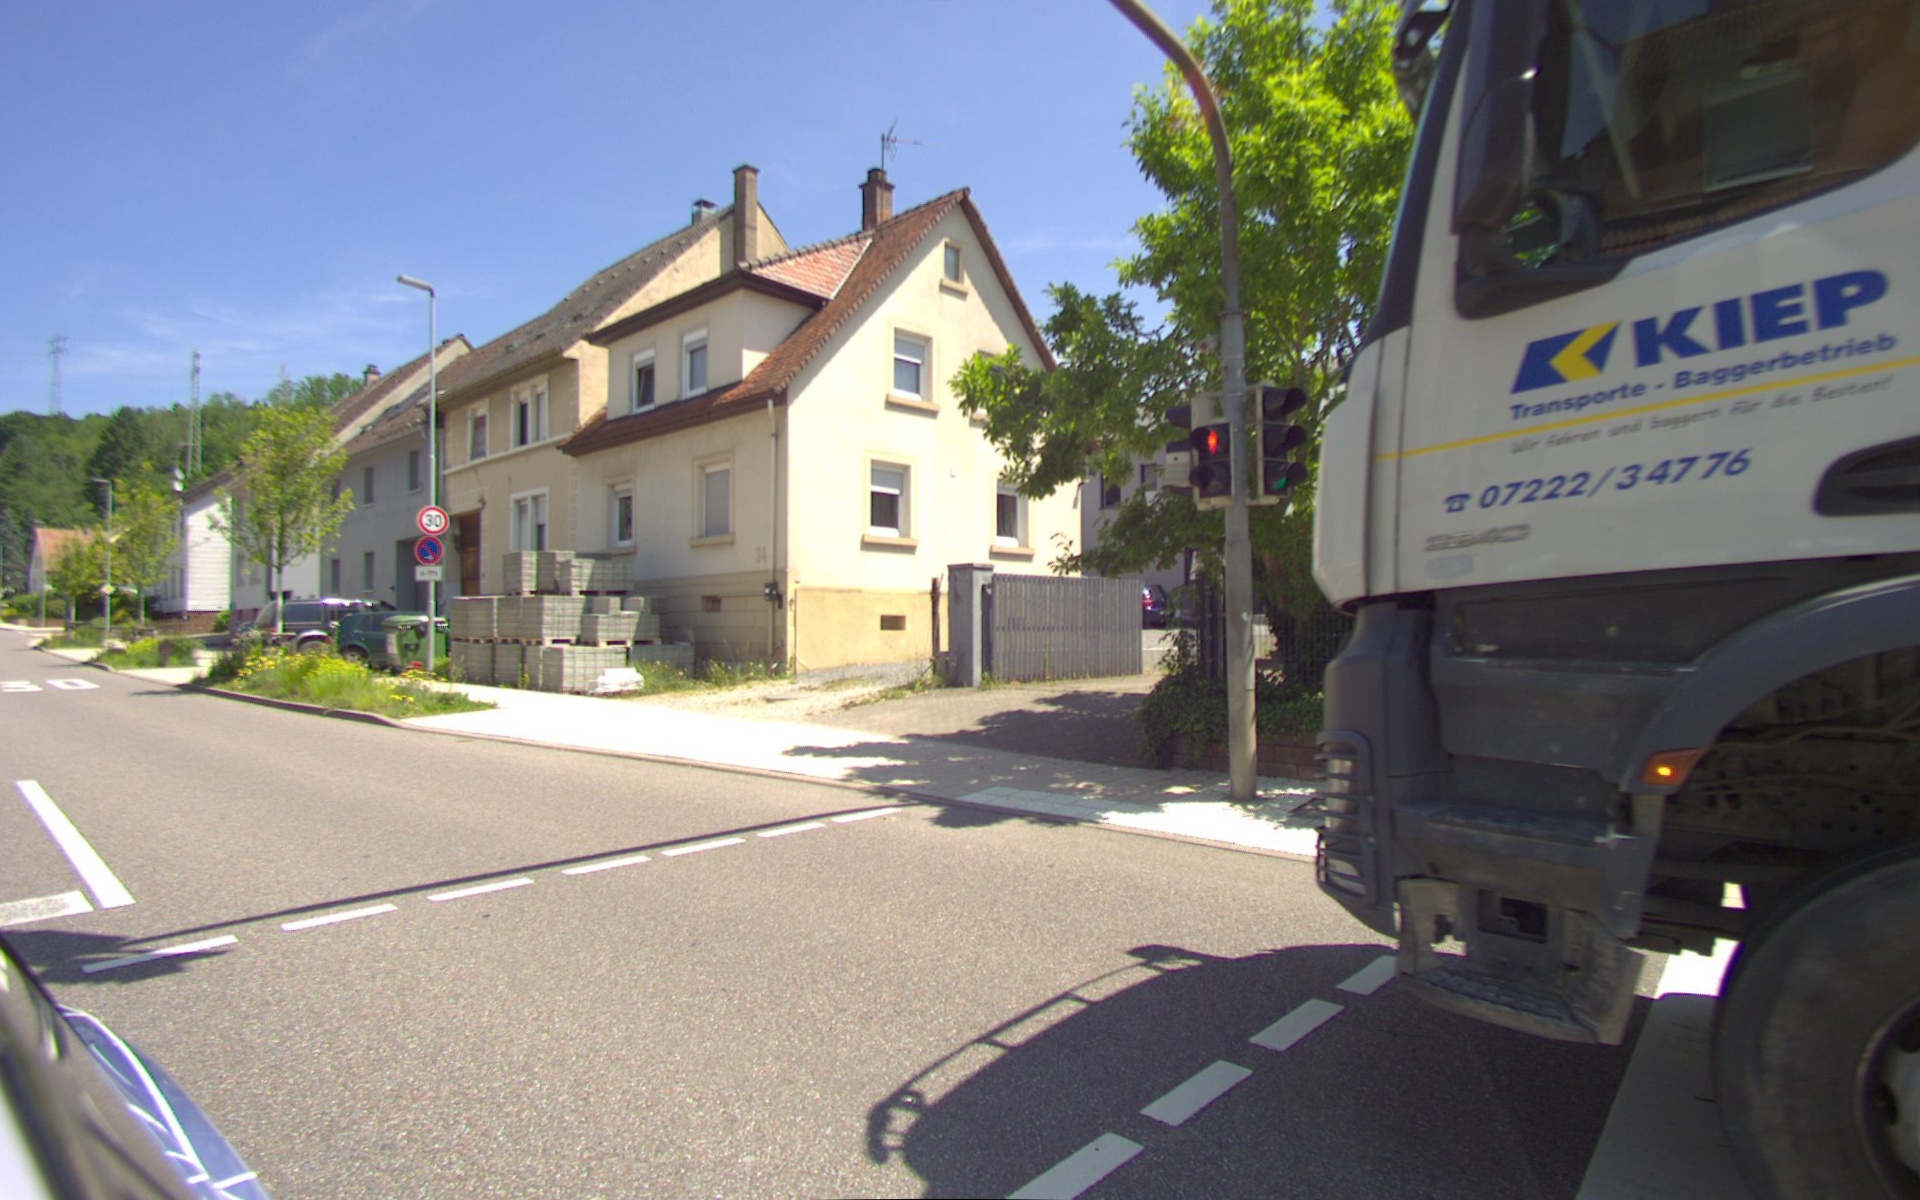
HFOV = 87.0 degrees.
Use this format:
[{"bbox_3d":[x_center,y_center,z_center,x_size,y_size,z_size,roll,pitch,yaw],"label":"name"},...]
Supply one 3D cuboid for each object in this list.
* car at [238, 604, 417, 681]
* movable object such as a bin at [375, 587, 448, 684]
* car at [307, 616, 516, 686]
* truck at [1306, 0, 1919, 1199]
[{"bbox_3d":[-16.260,1.028,26.114,1.848,1.804,3.559,0,0,41],"label":"car"},{"bbox_3d":[-11.969,0.753,22.074,1.323,2.029,1.047,-1,0,43],"label":"movable object such as a bin"},{"bbox_3d":[-12.739,1.153,23.719,3.987,1.511,1.707,0,0,-9],"label":"car"},{"bbox_3d":[4.913,-0.448,0.713,8.625,3.767,2.513,-2,-3,45],"label":"truck"}]
